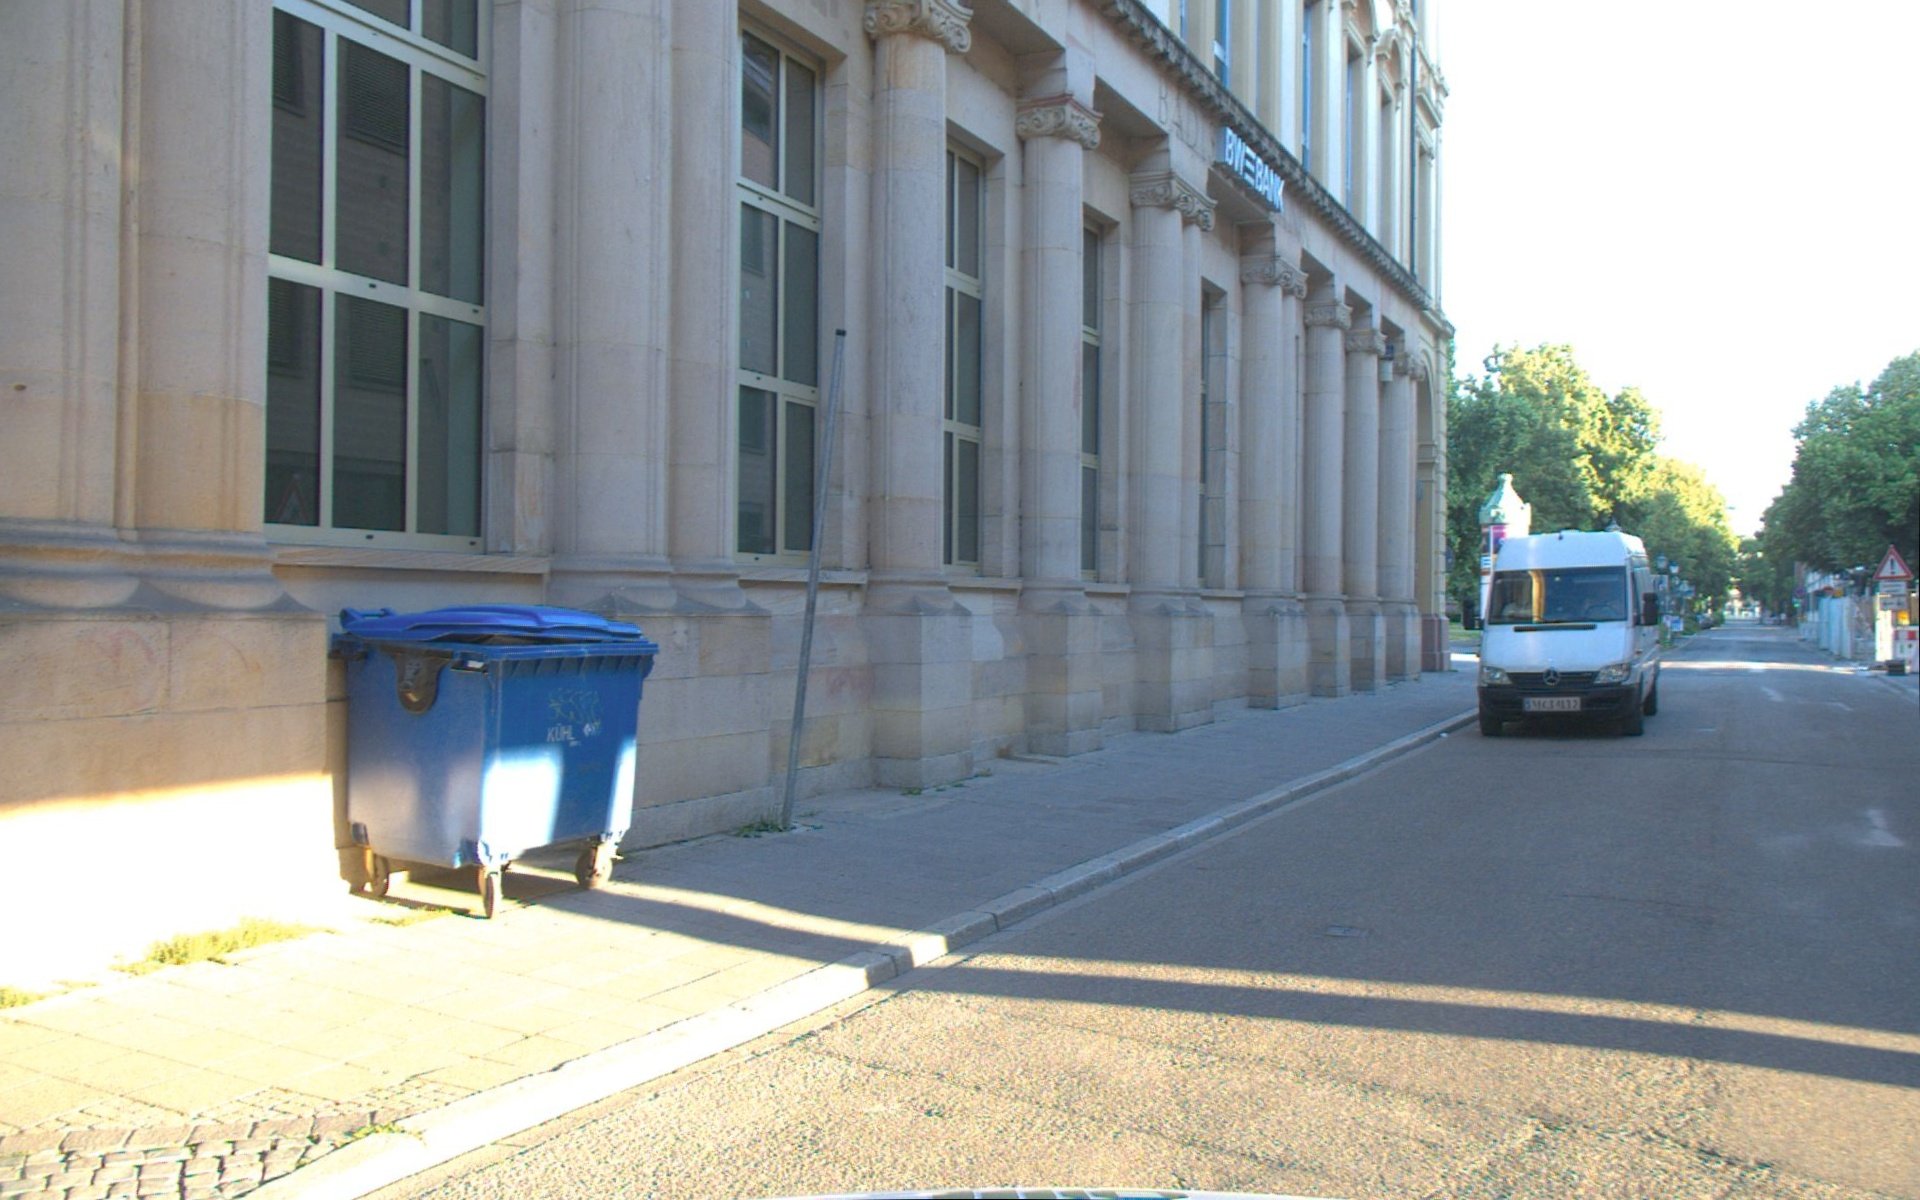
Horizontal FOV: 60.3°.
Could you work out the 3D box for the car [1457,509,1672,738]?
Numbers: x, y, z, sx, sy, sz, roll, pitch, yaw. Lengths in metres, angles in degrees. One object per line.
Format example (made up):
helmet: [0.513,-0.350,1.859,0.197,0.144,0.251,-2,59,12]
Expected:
car: [8.208,0.299,22.025,1.956,2.556,6.464,-4,-2,25]

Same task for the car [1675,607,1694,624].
car: [64.016,1.377,146.079,1.439,1.429,3.676,1,0,25]

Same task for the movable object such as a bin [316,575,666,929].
movable object such as a bin: [-2.217,0.655,7.910,1.054,1.500,1.185,2,0,29]
